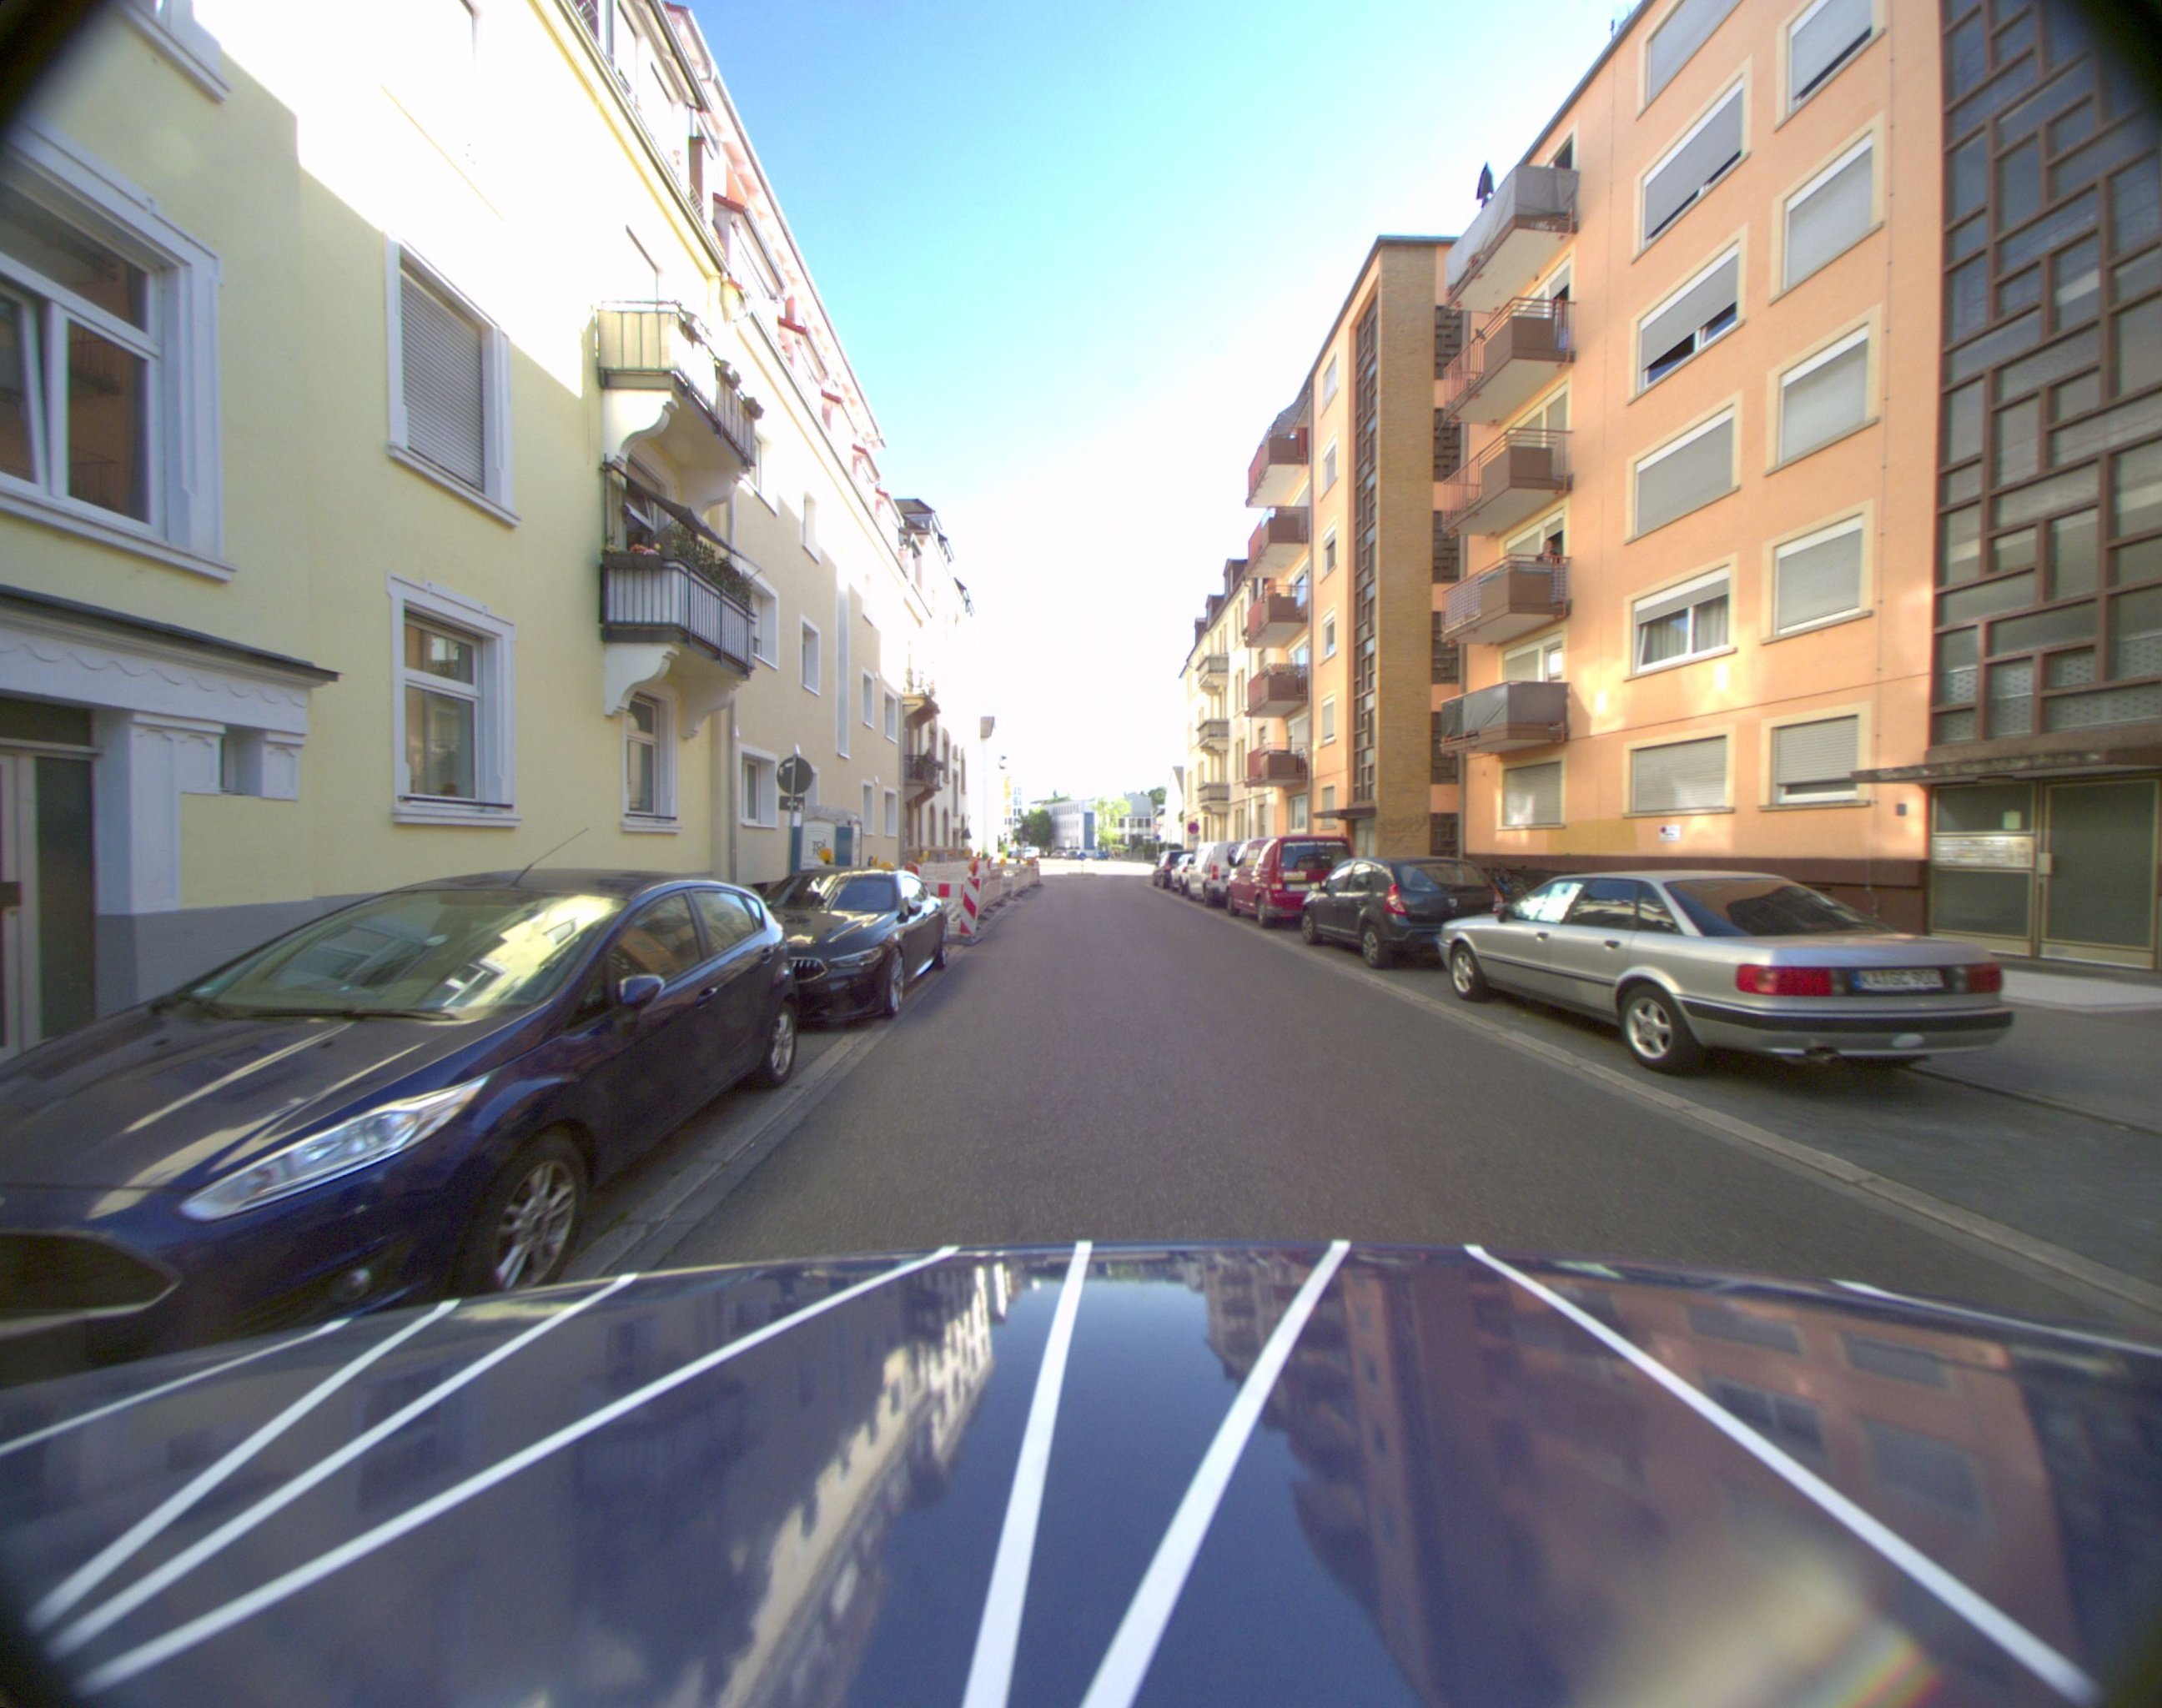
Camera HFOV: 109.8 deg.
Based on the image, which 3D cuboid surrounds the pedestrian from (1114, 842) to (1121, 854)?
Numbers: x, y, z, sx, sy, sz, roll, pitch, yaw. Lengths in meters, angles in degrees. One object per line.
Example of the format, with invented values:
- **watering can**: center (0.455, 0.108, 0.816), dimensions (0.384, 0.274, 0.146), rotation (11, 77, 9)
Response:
- **pedestrian**: center (5.574, -0.916, 115.716), dimensions (0.820, 1.696, 0.996), rotation (-1, 1, -12)

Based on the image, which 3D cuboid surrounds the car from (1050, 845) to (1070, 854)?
- **car**: center (-3.930, -0.787, 144.269), dimensions (2.141, 1.604, 4.825), rotation (-2, 1, -23)

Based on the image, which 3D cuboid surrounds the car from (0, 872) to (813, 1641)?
- **car**: center (-2.777, 0.920, 3.622), dimensions (1.768, 1.462, 4.082), rotation (2, 1, -4)

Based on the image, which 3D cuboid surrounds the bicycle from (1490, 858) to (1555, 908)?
- **bicycle**: center (10.395, 0.656, 17.947), dimensions (0.342, 1.107, 1.762), rotation (0, 1, -7)

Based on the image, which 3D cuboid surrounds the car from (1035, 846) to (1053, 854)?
- **car**: center (-7.581, -0.838, 153.589), dimensions (2.141, 1.604, 4.826), rotation (-2, 1, -22)

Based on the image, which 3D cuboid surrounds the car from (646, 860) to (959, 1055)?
- **car**: center (-2.710, 0.884, 8.842), dimensions (1.806, 1.462, 5.110), rotation (2, 0, -1)

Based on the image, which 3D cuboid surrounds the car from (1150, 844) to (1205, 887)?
- **car**: center (4.202, 0.464, 33.650), dimensions (1.767, 1.761, 4.293), rotation (-1, 1, -1)

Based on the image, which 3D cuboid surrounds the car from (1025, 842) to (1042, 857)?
- **car**: center (-6.802, -0.609, 110.152), dimensions (1.998, 2.002, 4.796), rotation (3, 1, 0)

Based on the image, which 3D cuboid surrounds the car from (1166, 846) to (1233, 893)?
- **car**: center (4.370, 0.532, 28.678), dimensions (1.767, 1.611, 4.293), rotation (-1, 1, -1)

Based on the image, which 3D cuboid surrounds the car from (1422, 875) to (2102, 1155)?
- **car**: center (4.811, 0.960, 6.485), dimensions (1.767, 1.369, 4.477), rotation (-1, 1, 0)

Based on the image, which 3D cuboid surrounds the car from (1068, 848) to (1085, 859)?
- **car**: center (-0.781, -0.045, 123.917), dimensions (1.882, 1.686, 4.268), rotation (0, 0, -14)

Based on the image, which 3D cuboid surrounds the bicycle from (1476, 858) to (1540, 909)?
- **bicycle**: center (10.010, 0.662, 17.892), dimensions (0.342, 1.107, 1.762), rotation (0, 1, -7)

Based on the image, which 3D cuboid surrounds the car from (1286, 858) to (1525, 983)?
- **car**: center (4.613, 0.852, 11.523), dimensions (1.767, 1.494, 3.998), rotation (0, 1, -2)

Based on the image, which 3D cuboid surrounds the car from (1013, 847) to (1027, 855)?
- **car**: center (-11.258, -0.590, 140.199), dimensions (1.760, 1.445, 3.993), rotation (4, 0, -16)

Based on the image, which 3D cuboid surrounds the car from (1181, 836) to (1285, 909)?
- **car**: center (4.450, 0.469, 23.080), dimensions (1.981, 1.914, 5.308), rotation (-1, 1, -1)

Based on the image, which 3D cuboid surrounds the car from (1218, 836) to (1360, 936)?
- **car**: center (4.480, 0.587, 17.193), dimensions (1.767, 1.914, 4.933), rotation (-1, 1, -1)
